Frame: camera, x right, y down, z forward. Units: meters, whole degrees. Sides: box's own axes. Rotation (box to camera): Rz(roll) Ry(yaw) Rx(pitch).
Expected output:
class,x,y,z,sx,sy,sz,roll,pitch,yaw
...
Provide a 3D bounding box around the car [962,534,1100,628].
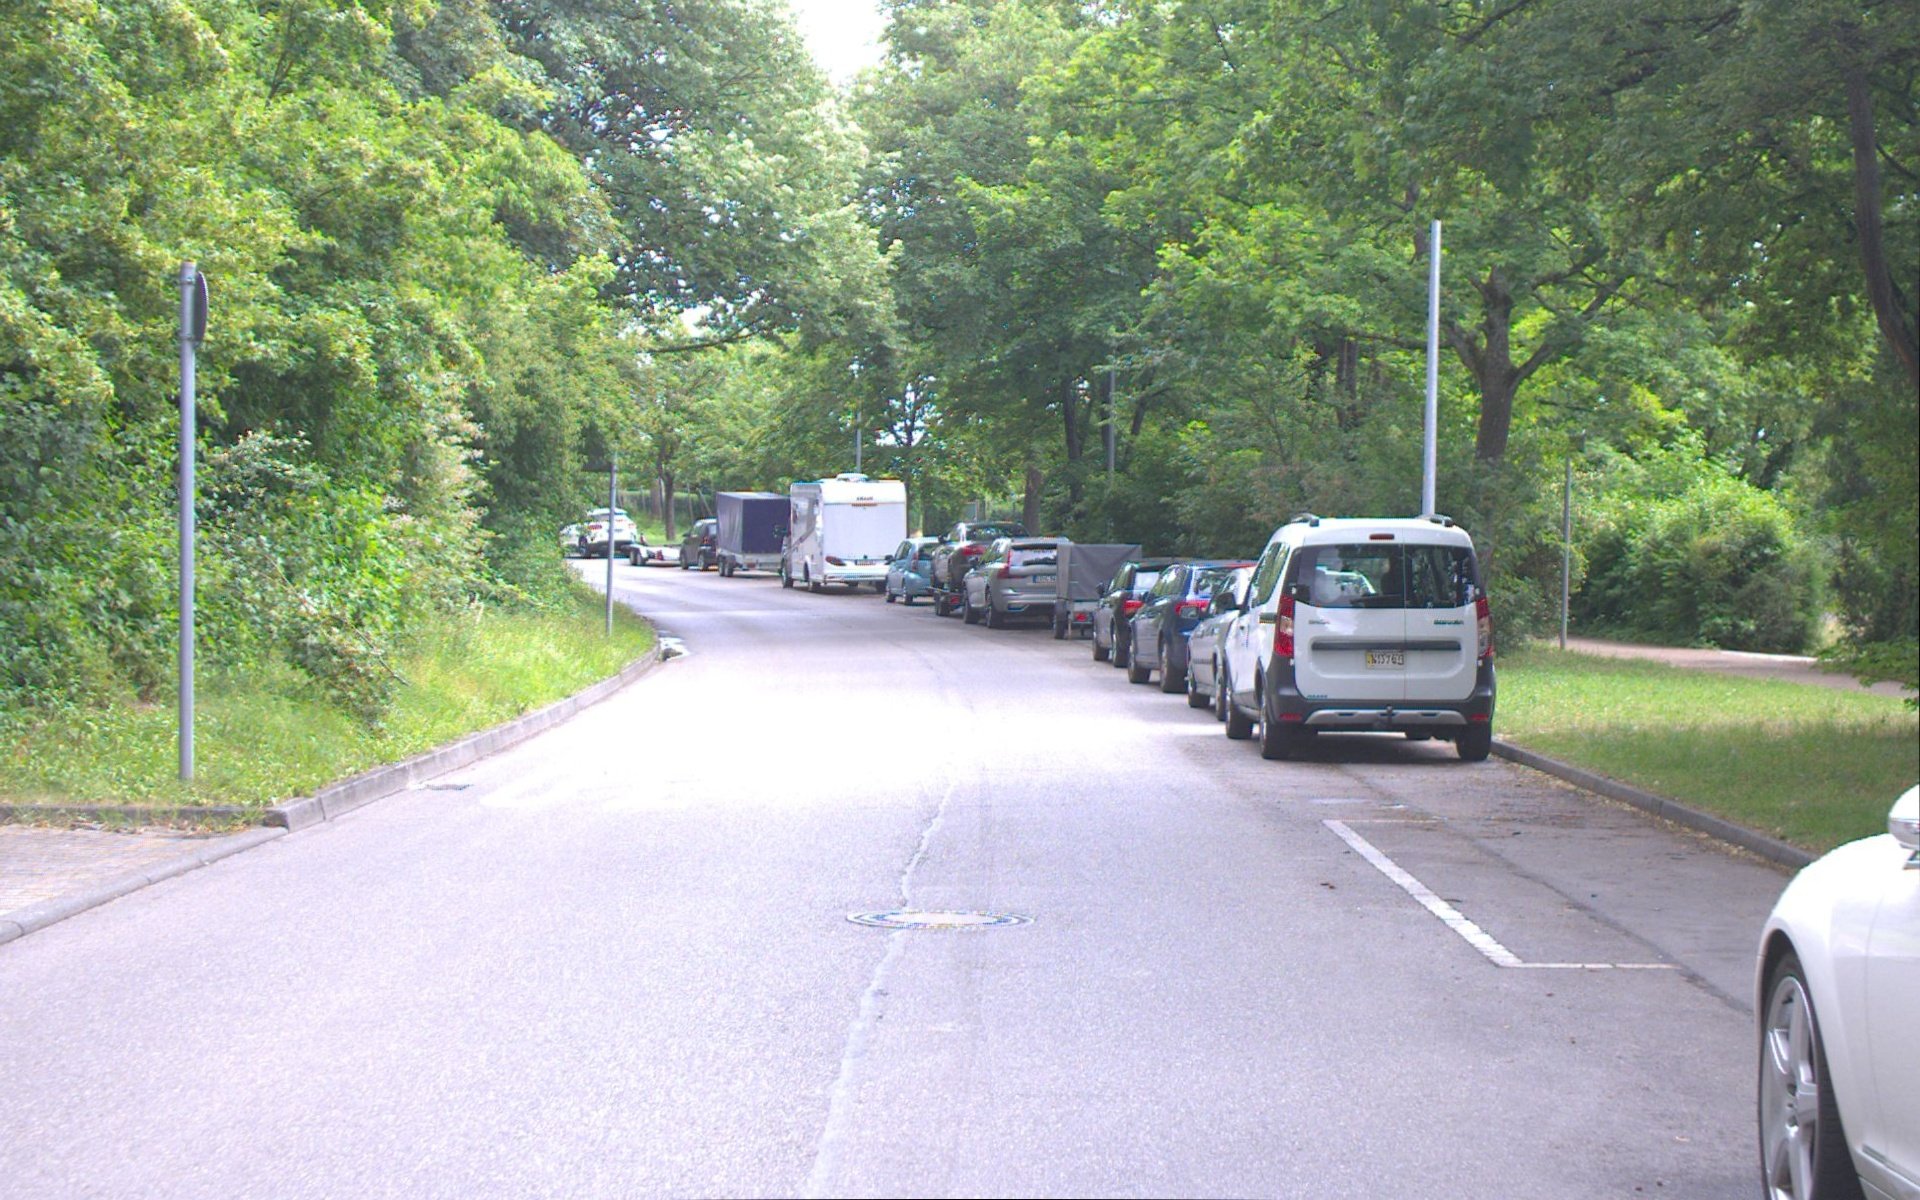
class,x,y,z,sx,sy,sz,roll,pitch,yaw
car,1.262,-0.334,63.161,1.791,1.664,4.503,0,0,-9

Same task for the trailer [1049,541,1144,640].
class,x,y,z,sx,sy,sz,roll,pitch,yaw
trailer,2.251,-0.172,56.947,1.278,1.579,2.461,1,1,-4

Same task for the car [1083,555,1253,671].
class,x,y,z,sx,sy,sz,roll,pitch,yaw
car,2.744,0.139,46.134,1.720,1.448,3.918,1,1,-4

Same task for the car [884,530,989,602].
class,x,y,z,sx,sy,sz,roll,pitch,yaw
car,-0.570,-0.797,78.748,1.799,1.556,3.836,0,2,-10

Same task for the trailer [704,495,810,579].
class,x,y,z,sx,sy,sz,roll,pitch,yaw
trailer,-5.899,-1.836,99.425,1.993,2.390,4.001,0,1,-20

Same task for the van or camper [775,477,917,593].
class,x,y,z,sx,sy,sz,roll,pitch,yaw
van or camper,-3.009,-1.687,88.998,2.481,2.866,6.892,0,1,-12

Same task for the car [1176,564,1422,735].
class,x,y,z,sx,sy,sz,roll,pitch,yaw
car,3.156,0.418,32.790,1.813,1.432,4.243,2,1,-1

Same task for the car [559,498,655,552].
class,x,y,z,sx,sy,sz,roll,pitch,yaw
car,-12.068,-2.569,117.329,2.034,1.797,4.084,-1,2,-25

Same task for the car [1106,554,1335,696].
class,x,y,z,sx,sy,sz,roll,pitch,yaw
car,2.871,0.238,38.796,1.847,1.469,4.480,1,1,-5

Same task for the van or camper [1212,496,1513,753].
class,x,y,z,sx,sy,sz,roll,pitch,yaw
van or camper,3.072,0.197,27.036,1.802,1.831,4.320,1,-1,0

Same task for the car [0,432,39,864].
class,x,y,z,sx,sy,sz,roll,pitch,yaw
car,-5.138,0.221,13.530,1.721,1.915,4.105,3,2,2

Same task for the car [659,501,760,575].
class,x,y,z,sx,sy,sz,roll,pitch,yaw
car,-7.645,-1.908,104.646,1.993,2.019,4.002,-3,4,-20

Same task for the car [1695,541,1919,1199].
class,x,y,z,sx,sy,sz,roll,pitch,yaw
car,2.691,0.665,5.560,1.886,1.501,5.176,1,1,0

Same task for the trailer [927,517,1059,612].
class,x,y,z,sx,sy,sz,roll,pitch,yaw
trailer,0.621,-0.747,69.441,1.978,1.805,5.150,0,2,-7
